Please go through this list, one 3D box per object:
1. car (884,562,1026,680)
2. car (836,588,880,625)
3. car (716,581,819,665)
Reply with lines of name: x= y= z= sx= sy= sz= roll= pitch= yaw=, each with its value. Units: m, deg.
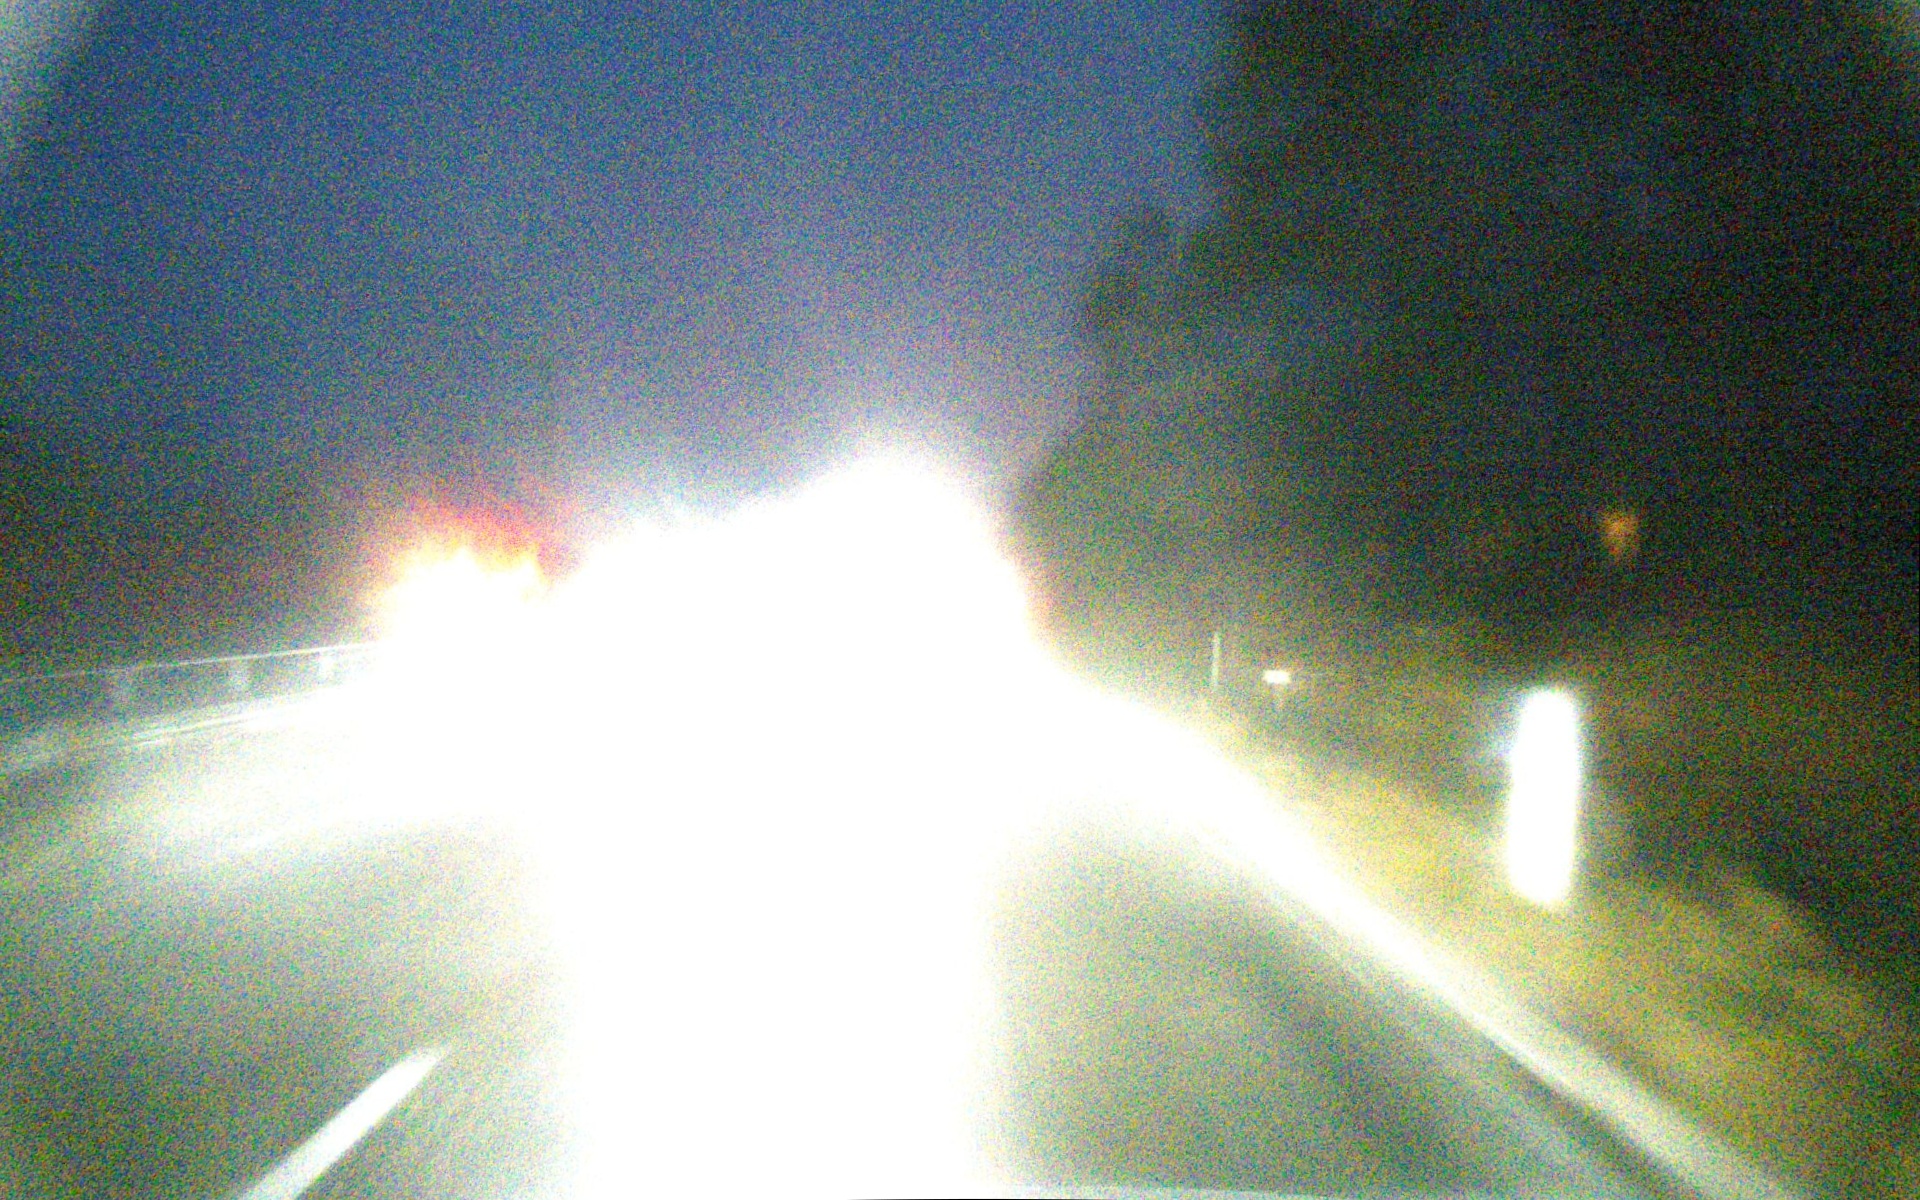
car: x=-0.092 y=0.342 z=30.900 sx=2.407 sy=1.992 sz=4.911 roll=1 pitch=0 yaw=0
car: x=-4.524 y=0.263 z=74.153 sx=1.729 sy=1.546 sz=4.489 roll=-3 pitch=1 yaw=-1
car: x=-4.084 y=0.447 z=35.639 sx=1.768 sy=1.656 sz=4.405 roll=-2 pitch=0 yaw=-2
